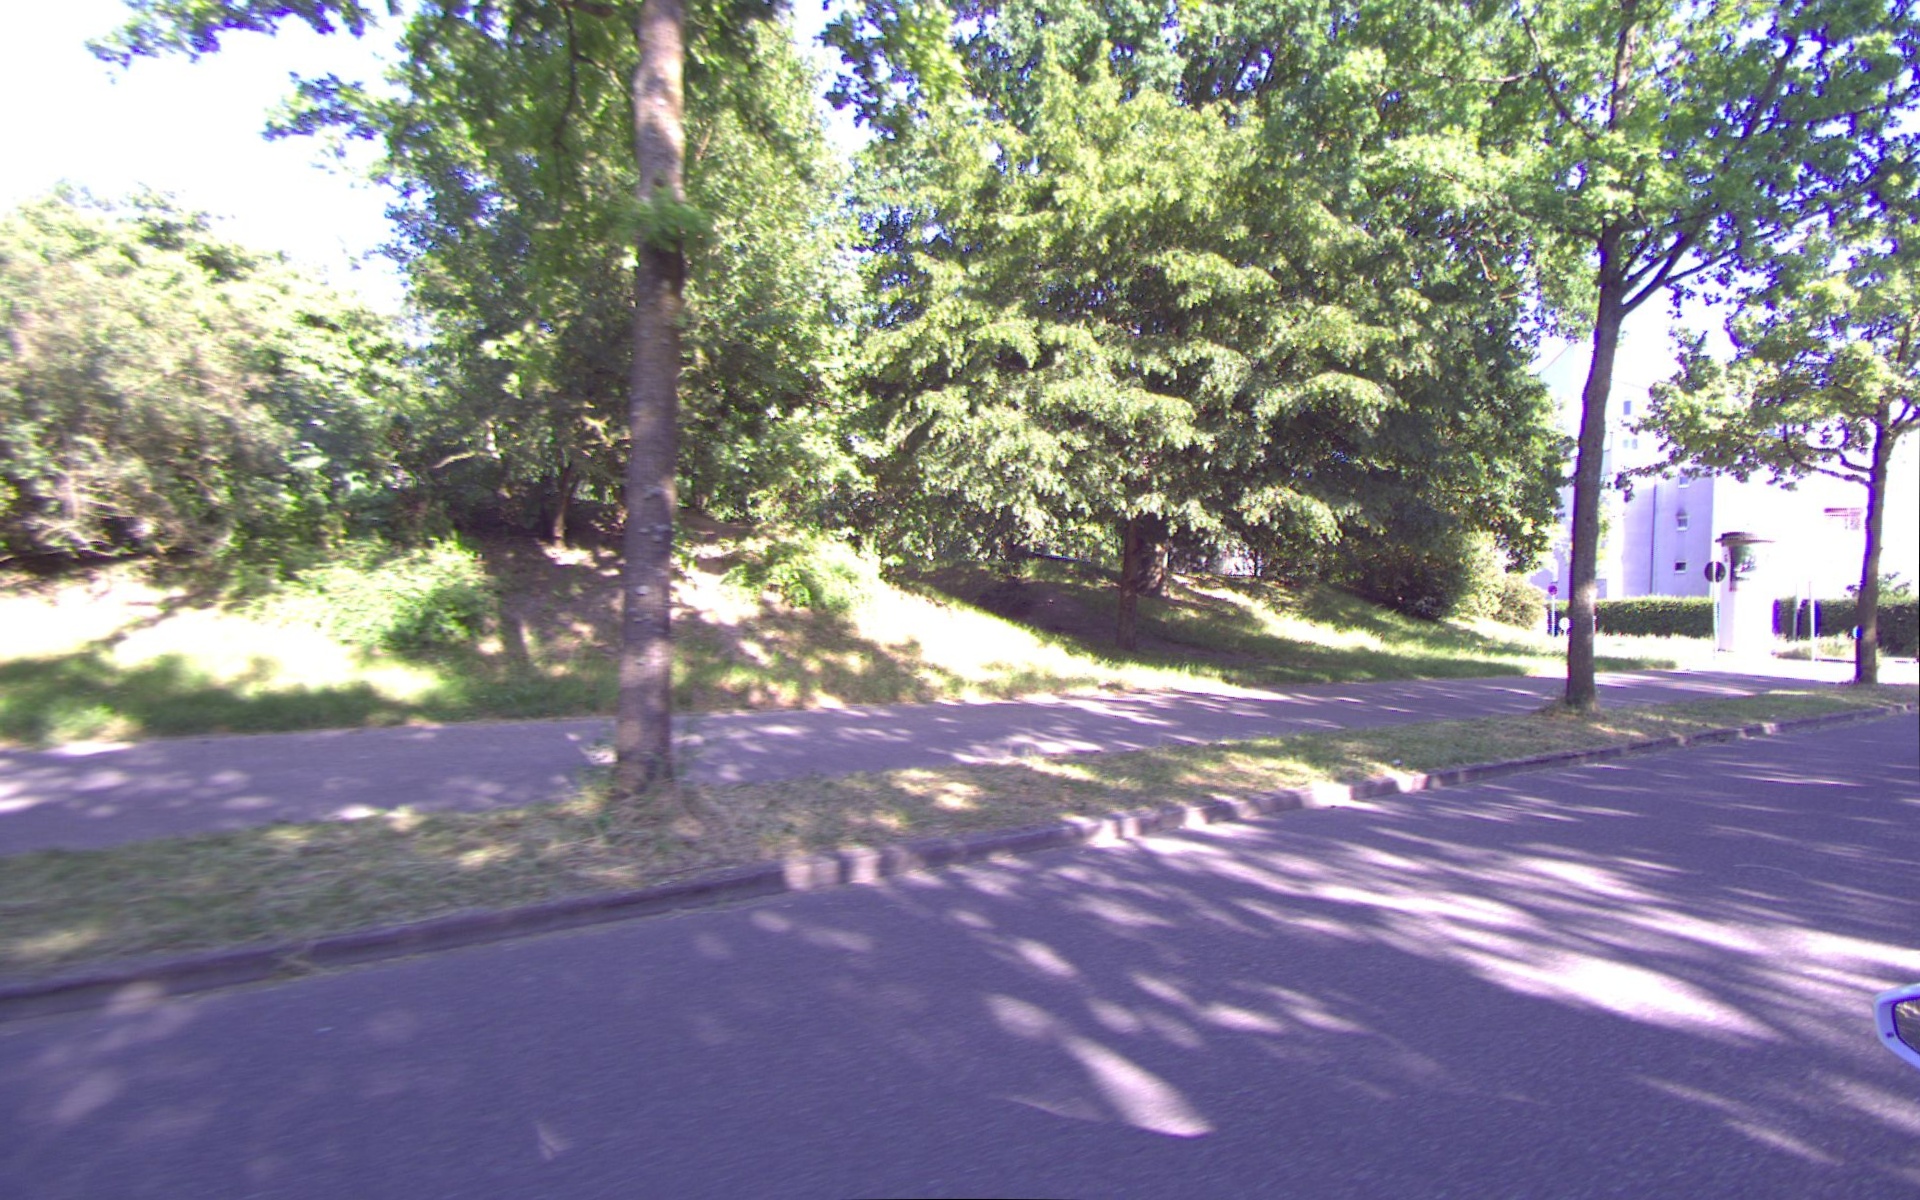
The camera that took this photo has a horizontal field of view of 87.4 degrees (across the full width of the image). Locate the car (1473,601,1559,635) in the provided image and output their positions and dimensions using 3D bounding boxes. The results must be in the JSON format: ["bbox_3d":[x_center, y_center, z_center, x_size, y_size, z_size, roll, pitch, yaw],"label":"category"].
[{"bbox_3d":[34.480,1.091,62.468,1.964,1.938,4.944,2,0,-10],"label":"car"}]
